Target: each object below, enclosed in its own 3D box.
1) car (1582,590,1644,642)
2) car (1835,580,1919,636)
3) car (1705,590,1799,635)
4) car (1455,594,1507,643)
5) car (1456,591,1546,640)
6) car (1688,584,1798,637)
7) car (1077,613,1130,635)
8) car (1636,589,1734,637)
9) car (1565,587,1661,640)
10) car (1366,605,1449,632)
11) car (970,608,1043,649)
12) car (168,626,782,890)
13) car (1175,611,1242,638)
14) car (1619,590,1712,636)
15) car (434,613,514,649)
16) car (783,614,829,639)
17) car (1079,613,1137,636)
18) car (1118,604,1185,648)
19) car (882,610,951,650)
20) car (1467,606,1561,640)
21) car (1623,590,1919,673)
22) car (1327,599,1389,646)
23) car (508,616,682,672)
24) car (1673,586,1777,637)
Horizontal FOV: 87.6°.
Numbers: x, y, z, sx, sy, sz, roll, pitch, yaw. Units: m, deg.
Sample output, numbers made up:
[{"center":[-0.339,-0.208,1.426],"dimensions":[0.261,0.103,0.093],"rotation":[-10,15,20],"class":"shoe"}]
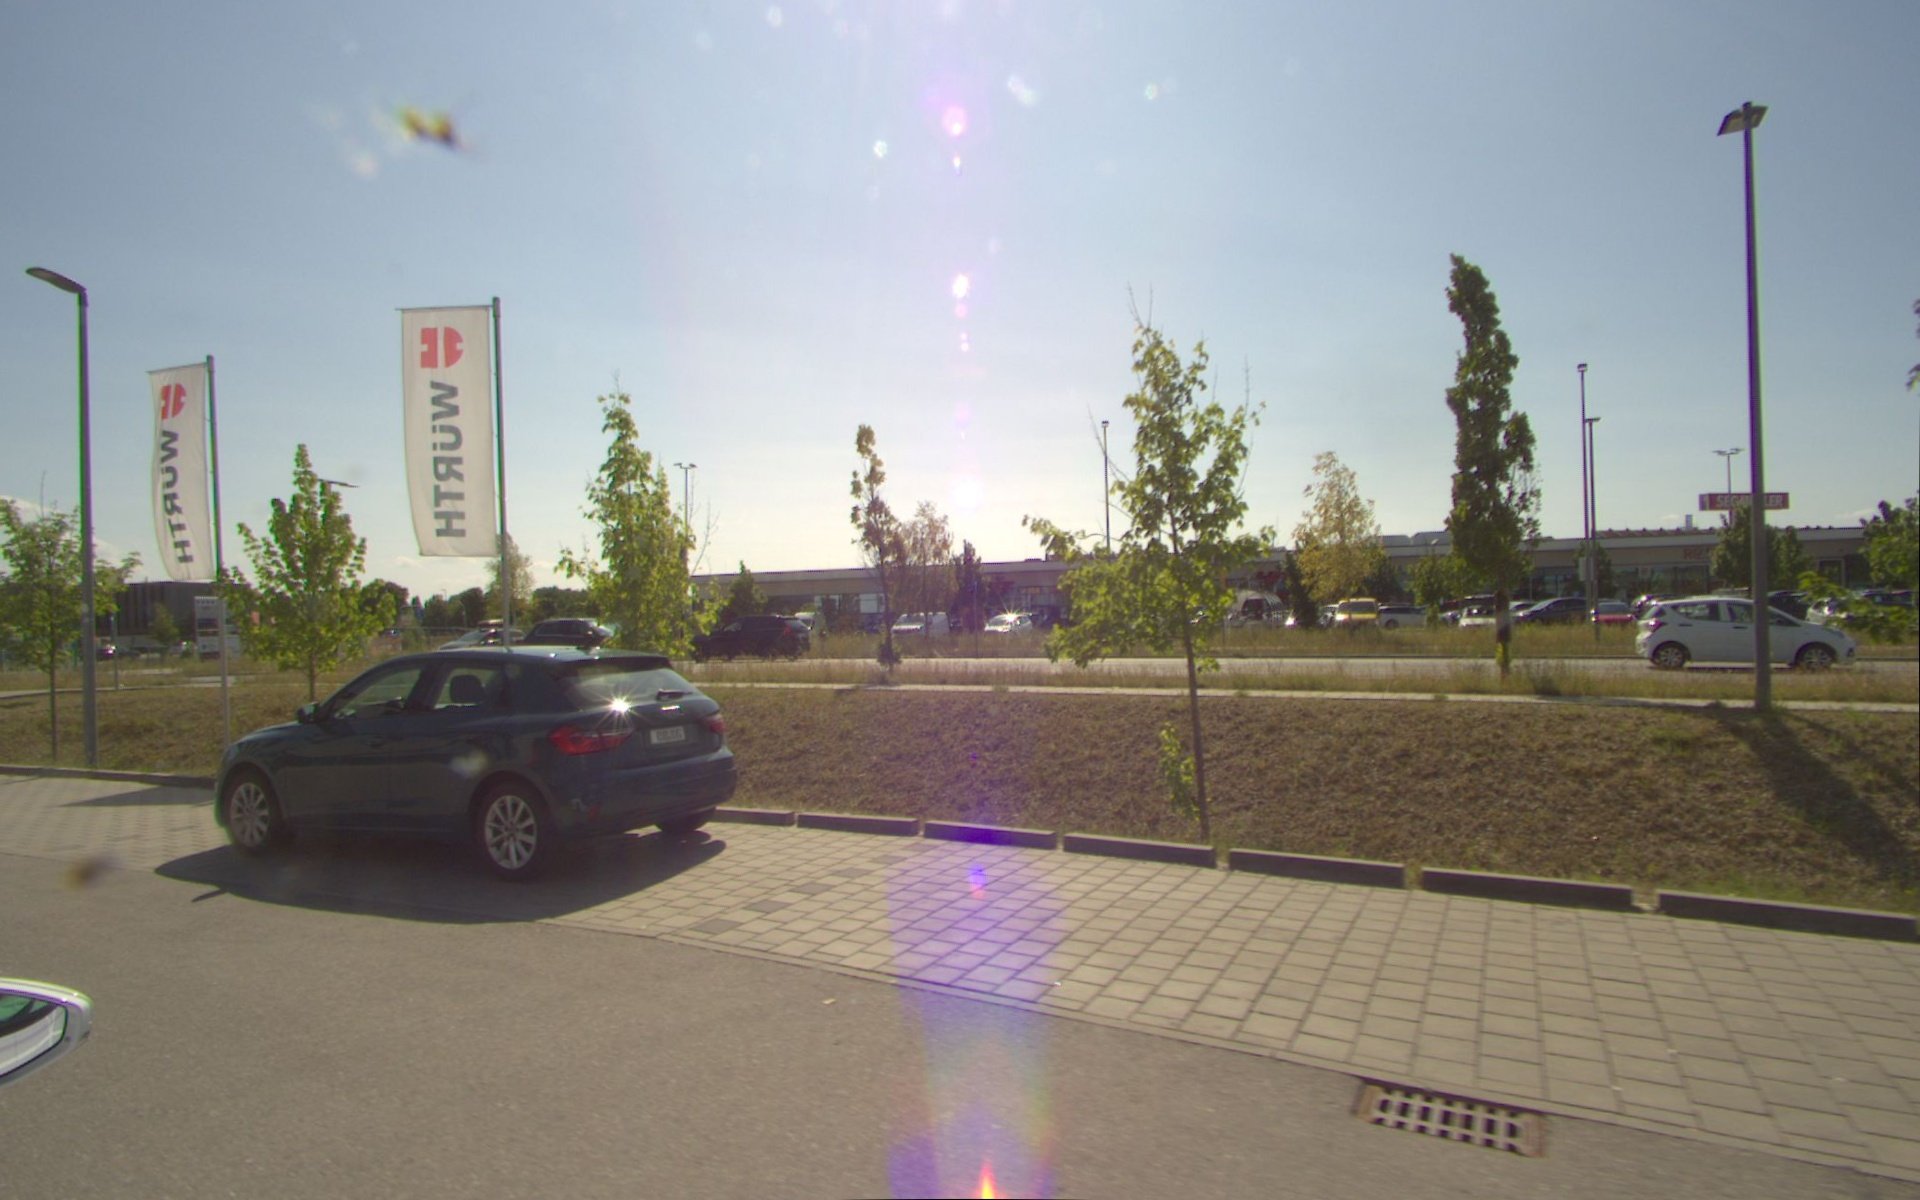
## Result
[{"center":[27.124,0.679,41.706],"dimensions":[1.855,2.040,4.120],"rotation":[-1,-1,29],"class":"car"},{"center":[49.404,0.447,52.872],"dimensions":[4.397,2.858,2.000],"rotation":[-1,-1,5],"class":"car"},{"center":[52.543,0.825,66.523],"dimensions":[4.400,2.858,1.999],"rotation":[-1,-1,11],"class":"car"},{"center":[22.921,0.816,44.092],"dimensions":[1.914,2.040,4.393],"rotation":[-1,-1,27],"class":"car"},{"center":[33.282,0.983,61.713],"dimensions":[4.397,2.858,2.000],"rotation":[-1,-1,5],"class":"car"},{"center":[44.178,0.648,56.592],"dimensions":[4.400,2.858,1.999],"rotation":[-1,-1,11],"class":"car"},{"center":[10.131,1.686,70.870],"dimensions":[3.660,1.408,1.732],"rotation":[-2,-1,8],"class":"car"},{"center":[44.922,0.810,62.142],"dimensions":[4.400,2.858,1.999],"rotation":[-1,-1,11],"class":"car"},{"center":[36.422,0.750,55.891],"dimensions":[4.402,2.858,1.998],"rotation":[-1,-1,-14],"class":"car"},{"center":[26.698,1.129,59.899],"dimensions":[4.269,1.539,1.654],"rotation":[-1,-1,13],"class":"car"},{"center":[2.534,1.494,53.161],"dimensions":[2.129,2.039,5.100],"rotation":[-2,-1,24],"class":"car"},{"center":[-3.582,0.967,7.385],"dimensions":[4.157,1.468,1.840],"rotation":[-1,-1,24],"class":"car"},{"center":[15.312,1.518,61.772],"dimensions":[3.925,1.527,1.874],"rotation":[-1,-1,12],"class":"car"},{"center":[45.274,0.873,64.333],"dimensions":[4.400,2.858,1.999],"rotation":[-1,-1,11],"class":"car"},{"center":[-21.993,1.421,45.473],"dimensions":[1.962,1.536,4.197],"rotation":[-1,-2,-6],"class":"car"},{"center":[-13.248,2.290,86.469],"dimensions":[2.187,2.002,6.696],"rotation":[-2,-1,7],"class":"car"},{"center":[9.583,1.591,64.928],"dimensions":[3.660,1.408,1.732],"rotation":[-2,-1,8],"class":"car"},{"center":[9.657,1.288,50.213],"dimensions":[2.129,2.039,5.100],"rotation":[-2,-1,24],"class":"car"},{"center":[-2.311,1.623,54.896],"dimensions":[2.051,2.039,5.220],"rotation":[-2,-1,18],"class":"car"},{"center":[32.547,1.346,58.981],"dimensions":[4.400,1.887,1.999],"rotation":[-1,-1,11],"class":"car"},{"center":[16.716,0.678,20.830],"dimensions":[4.690,1.571,1.938],"rotation":[-2,-2,29],"class":"car"},{"center":[18.436,1.023,46.276],"dimensions":[2.131,2.039,5.096],"rotation":[-2,-1,27],"class":"car"},{"center":[-10.886,1.316,29.918],"dimensions":[4.676,1.571,1.944],"rotation":[-1,-1,18],"class":"car"},{"center":[45.282,0.717,59.365],"dimensions":[4.400,2.858,1.999],"rotation":[-1,-1,11],"class":"car"}]
